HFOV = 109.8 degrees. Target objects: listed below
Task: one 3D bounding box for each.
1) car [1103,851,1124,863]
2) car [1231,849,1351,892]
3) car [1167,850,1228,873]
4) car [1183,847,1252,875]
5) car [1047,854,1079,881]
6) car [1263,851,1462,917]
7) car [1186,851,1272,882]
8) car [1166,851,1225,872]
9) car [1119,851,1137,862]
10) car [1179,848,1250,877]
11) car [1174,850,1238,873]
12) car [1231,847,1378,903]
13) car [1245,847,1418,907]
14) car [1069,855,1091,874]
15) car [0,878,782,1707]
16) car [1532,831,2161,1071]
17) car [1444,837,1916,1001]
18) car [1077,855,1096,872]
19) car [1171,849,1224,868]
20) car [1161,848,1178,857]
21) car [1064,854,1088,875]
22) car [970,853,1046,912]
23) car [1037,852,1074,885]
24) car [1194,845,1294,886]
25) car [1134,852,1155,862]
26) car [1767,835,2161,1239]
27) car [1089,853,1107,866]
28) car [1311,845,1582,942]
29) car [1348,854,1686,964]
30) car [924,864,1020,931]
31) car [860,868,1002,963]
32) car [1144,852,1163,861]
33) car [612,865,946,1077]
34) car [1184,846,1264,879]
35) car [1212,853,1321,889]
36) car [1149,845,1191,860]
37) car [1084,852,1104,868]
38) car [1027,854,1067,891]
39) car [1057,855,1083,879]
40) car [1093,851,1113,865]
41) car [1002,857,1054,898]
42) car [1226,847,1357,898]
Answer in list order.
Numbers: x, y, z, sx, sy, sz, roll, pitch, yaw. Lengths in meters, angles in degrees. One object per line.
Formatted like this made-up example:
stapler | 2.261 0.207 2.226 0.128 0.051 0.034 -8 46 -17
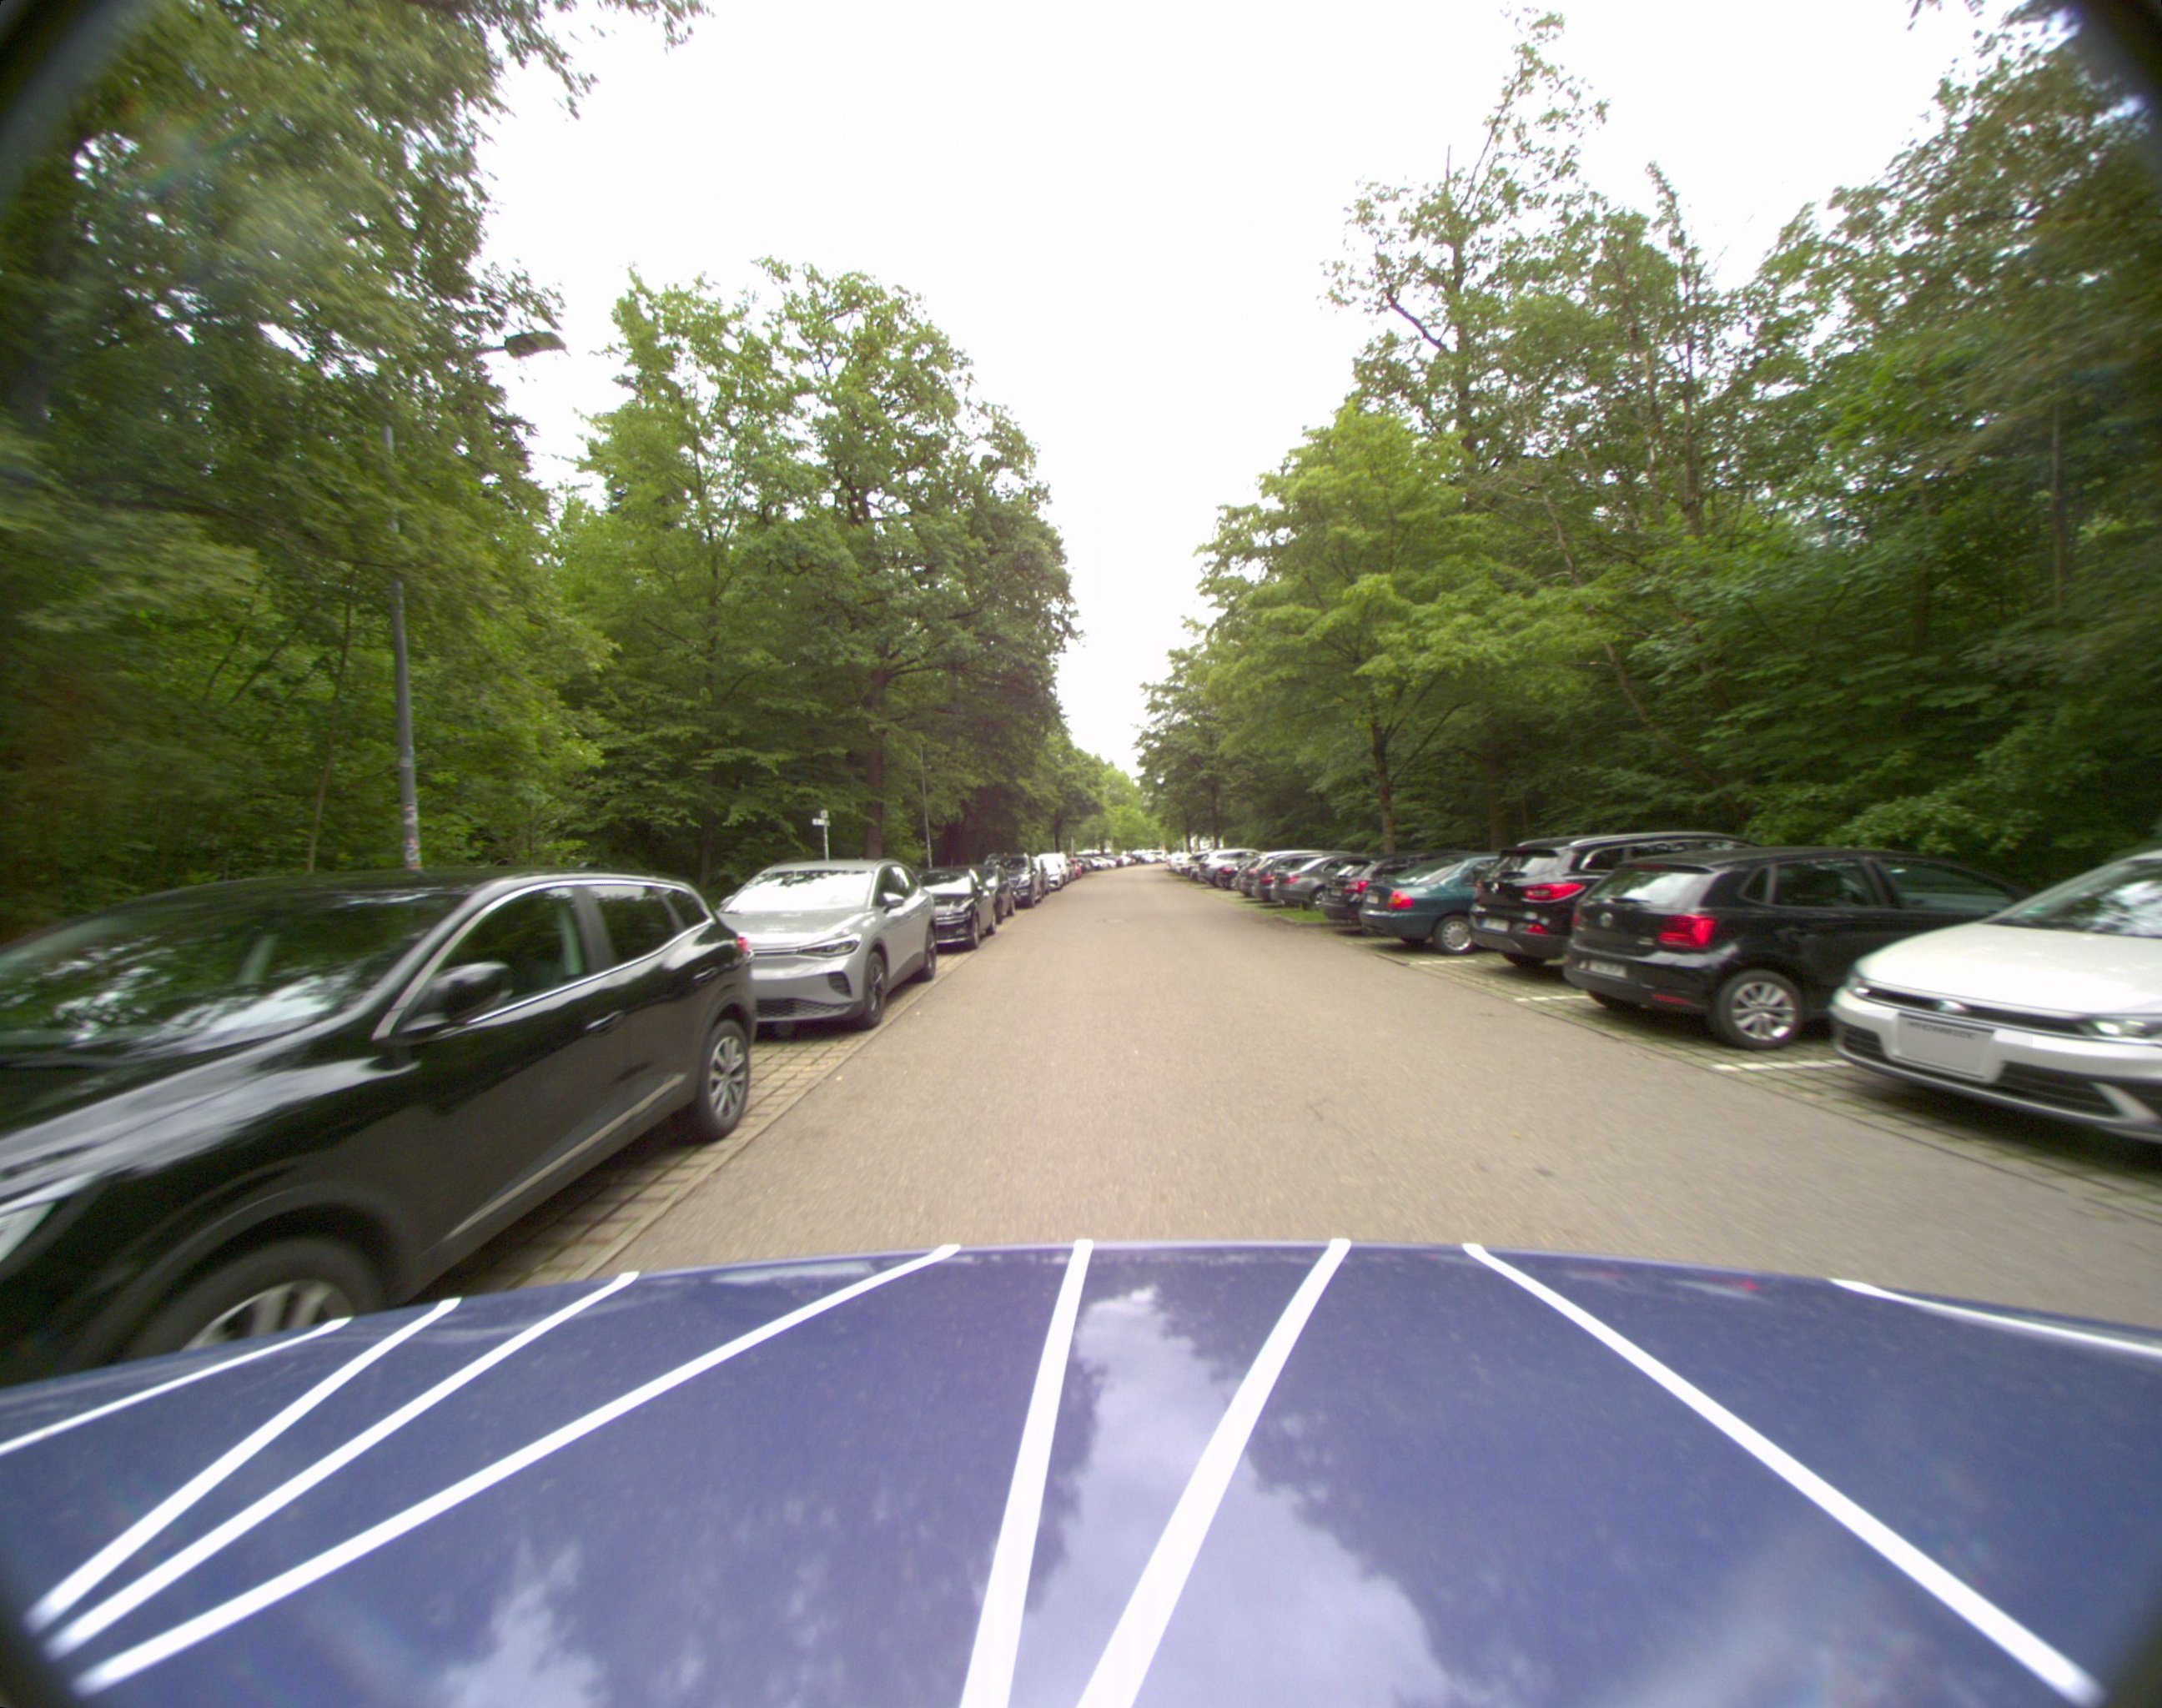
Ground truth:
car | 3.850 0.362 90.312 1.771 1.308 3.893 -2 1 13
car | 7.895 0.609 28.762 3.998 1.508 1.713 -1 0 -4
car | 8.208 0.522 53.680 3.998 1.469 1.713 -1 0 -2
car | 8.680 0.443 48.539 3.998 1.661 1.713 -1 0 -2
car | -1.108 0.845 48.061 1.642 1.561 3.666 -2 0 3
car | 6.777 0.712 18.662 4.220 1.448 1.818 -2 0 4
car | 7.472 0.603 38.681 3.998 1.480 1.713 -1 0 -2
car | 8.383 0.522 55.599 3.998 1.469 1.713 -1 0 -2
car | 6.181 0.320 99.678 1.771 1.308 3.893 -2 0 13
car | 8.087 0.486 46.266 3.998 1.661 1.713 -1 0 -2
car | 8.396 0.503 51.401 3.998 1.469 1.713 -1 0 -2
car | 6.896 0.618 23.649 3.998 1.508 1.713 -3 1 -4
car | 6.879 0.614 21.214 4.221 1.528 1.818 -1 0 1
car | -0.037 0.846 62.407 1.502 1.470 3.666 -2 0 3
car | -2.923 0.974 2.859 1.843 1.551 4.423 -2 0 -1
car | 6.152 0.671 6.091 3.996 1.588 1.742 -2 0 3
car | 6.574 0.667 8.675 3.997 1.588 1.741 -2 0 0
car | 0.516 0.829 69.936 1.502 1.470 3.666 -2 0 3
car | 9.544 0.329 62.404 3.998 1.469 1.713 -1 0 -2
car | 14.278 -0.250 122.364 1.770 1.308 3.896 -2 0 23
car | -0.366 0.772 56.797 1.502 1.470 3.666 -2 0 3
car | -2.308 0.858 25.129 1.909 1.713 4.485 -2 0 1
car | -1.390 0.776 43.264 1.642 1.742 4.055 -2 0 3
car | 7.179 0.503 33.714 3.998 1.717 1.713 -1 0 -2
car | 9.120 0.477 109.525 1.770 1.308 3.896 -2 0 24
car | 6.272 0.690 3.810 3.996 1.588 1.742 -2 0 3
car | 1.825 0.582 80.206 1.501 1.331 3.434 -2 0 8
car | 6.432 0.662 13.650 3.997 1.433 1.741 -3 1 -2
car | 6.275 0.765 11.322 3.996 1.413 1.742 -2 0 3
car | -2.716 1.040 19.817 1.750 1.418 4.189 -2 0 1
car | -2.669 1.044 14.441 1.824 1.433 4.000 -2 0 1
car | 10.896 0.339 114.413 1.770 1.308 3.896 -2 0 23
car | -2.856 0.988 8.434 1.907 1.577 4.480 -2 0 -1
car | 7.742 0.452 41.345 3.998 1.699 1.713 -1 0 -2
car | 7.543 0.683 31.125 3.998 1.363 1.713 -1 0 -4
car | 9.337 -0.157 79.722 3.992 1.412 1.783 -2 1 17
car | 1.334 0.544 75.049 1.501 1.470 3.668 -2 0 8
car | -1.600 0.862 36.593 1.580 1.610 3.962 -2 0 1
car | -0.736 0.874 52.755 1.502 1.470 3.666 -2 0 3
car | 2.510 0.448 84.983 1.501 1.470 3.668 -2 1 13
car | -2.124 0.920 31.484 1.705 1.529 3.962 -2 0 1
car | 7.236 0.614 26.358 3.998 1.508 1.713 -3 1 -4
